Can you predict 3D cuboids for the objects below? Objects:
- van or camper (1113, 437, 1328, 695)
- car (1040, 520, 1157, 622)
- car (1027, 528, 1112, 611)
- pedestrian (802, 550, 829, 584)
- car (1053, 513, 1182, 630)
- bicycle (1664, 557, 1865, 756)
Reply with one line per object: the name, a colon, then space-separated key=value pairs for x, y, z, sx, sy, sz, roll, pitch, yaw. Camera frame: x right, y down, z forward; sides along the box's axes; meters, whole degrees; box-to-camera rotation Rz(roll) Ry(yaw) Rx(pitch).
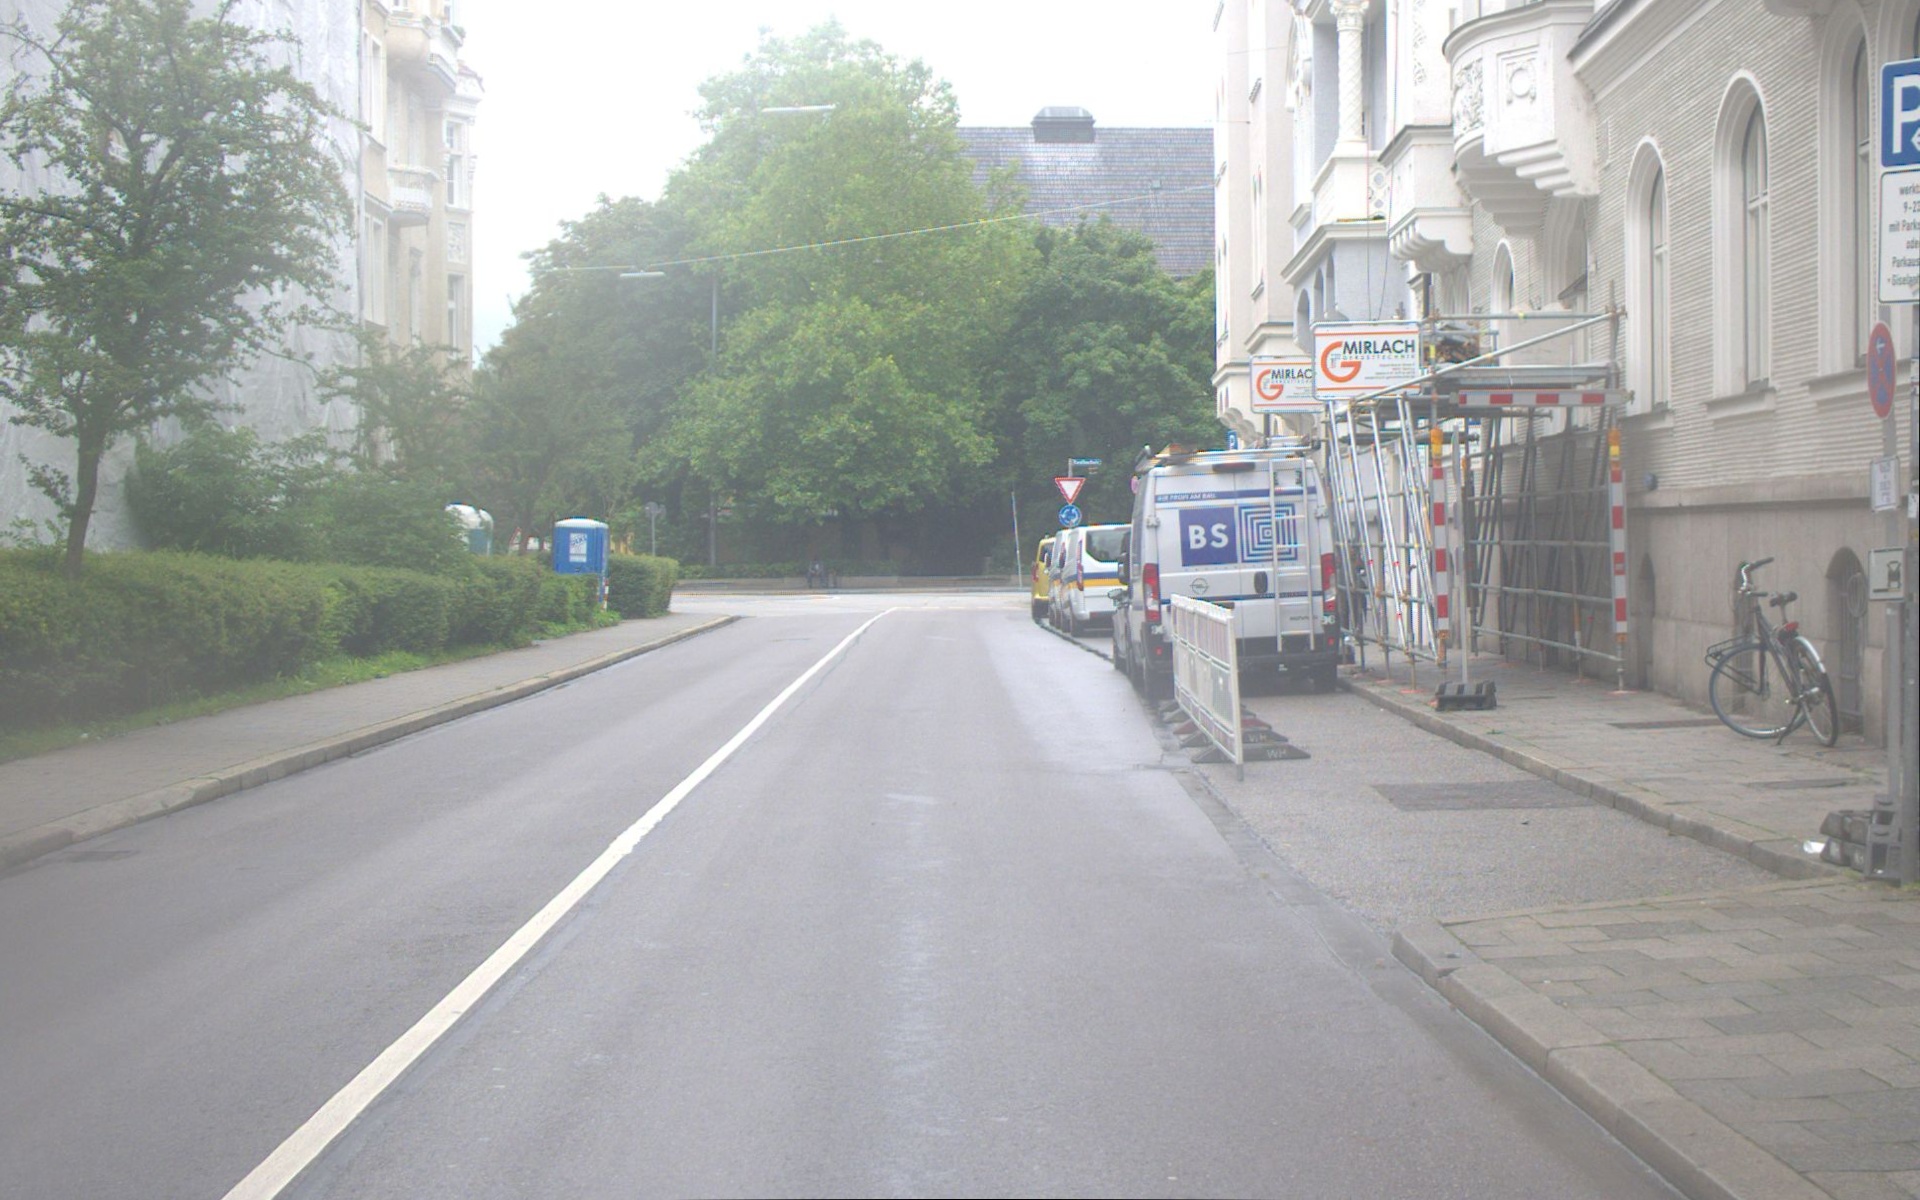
van or camper: x=2.800 y=-0.387 z=38.065 sx=1.953 sy=2.628 sz=5.459 roll=-1 pitch=1 yaw=0
car: x=2.732 y=-0.605 z=68.849 sx=1.959 sy=1.930 sz=4.994 roll=-1 pitch=1 yaw=-2
car: x=2.580 y=-0.739 z=79.985 sx=1.850 sy=1.846 sz=4.820 roll=-1 pitch=1 yaw=3
pedestrian: x=-5.111 y=-1.170 z=121.328 sx=0.812 sy=1.185 sz=0.919 roll=-1 pitch=1 yaw=6
car: x=2.821 y=-0.539 z=62.679 sx=1.959 sy=2.007 sz=4.994 roll=-1 pitch=1 yaw=-2
bicycle: x=5.239 y=0.343 z=22.509 sx=0.660 sy=1.202 sz=1.922 roll=-4 pitch=1 yaw=-4
